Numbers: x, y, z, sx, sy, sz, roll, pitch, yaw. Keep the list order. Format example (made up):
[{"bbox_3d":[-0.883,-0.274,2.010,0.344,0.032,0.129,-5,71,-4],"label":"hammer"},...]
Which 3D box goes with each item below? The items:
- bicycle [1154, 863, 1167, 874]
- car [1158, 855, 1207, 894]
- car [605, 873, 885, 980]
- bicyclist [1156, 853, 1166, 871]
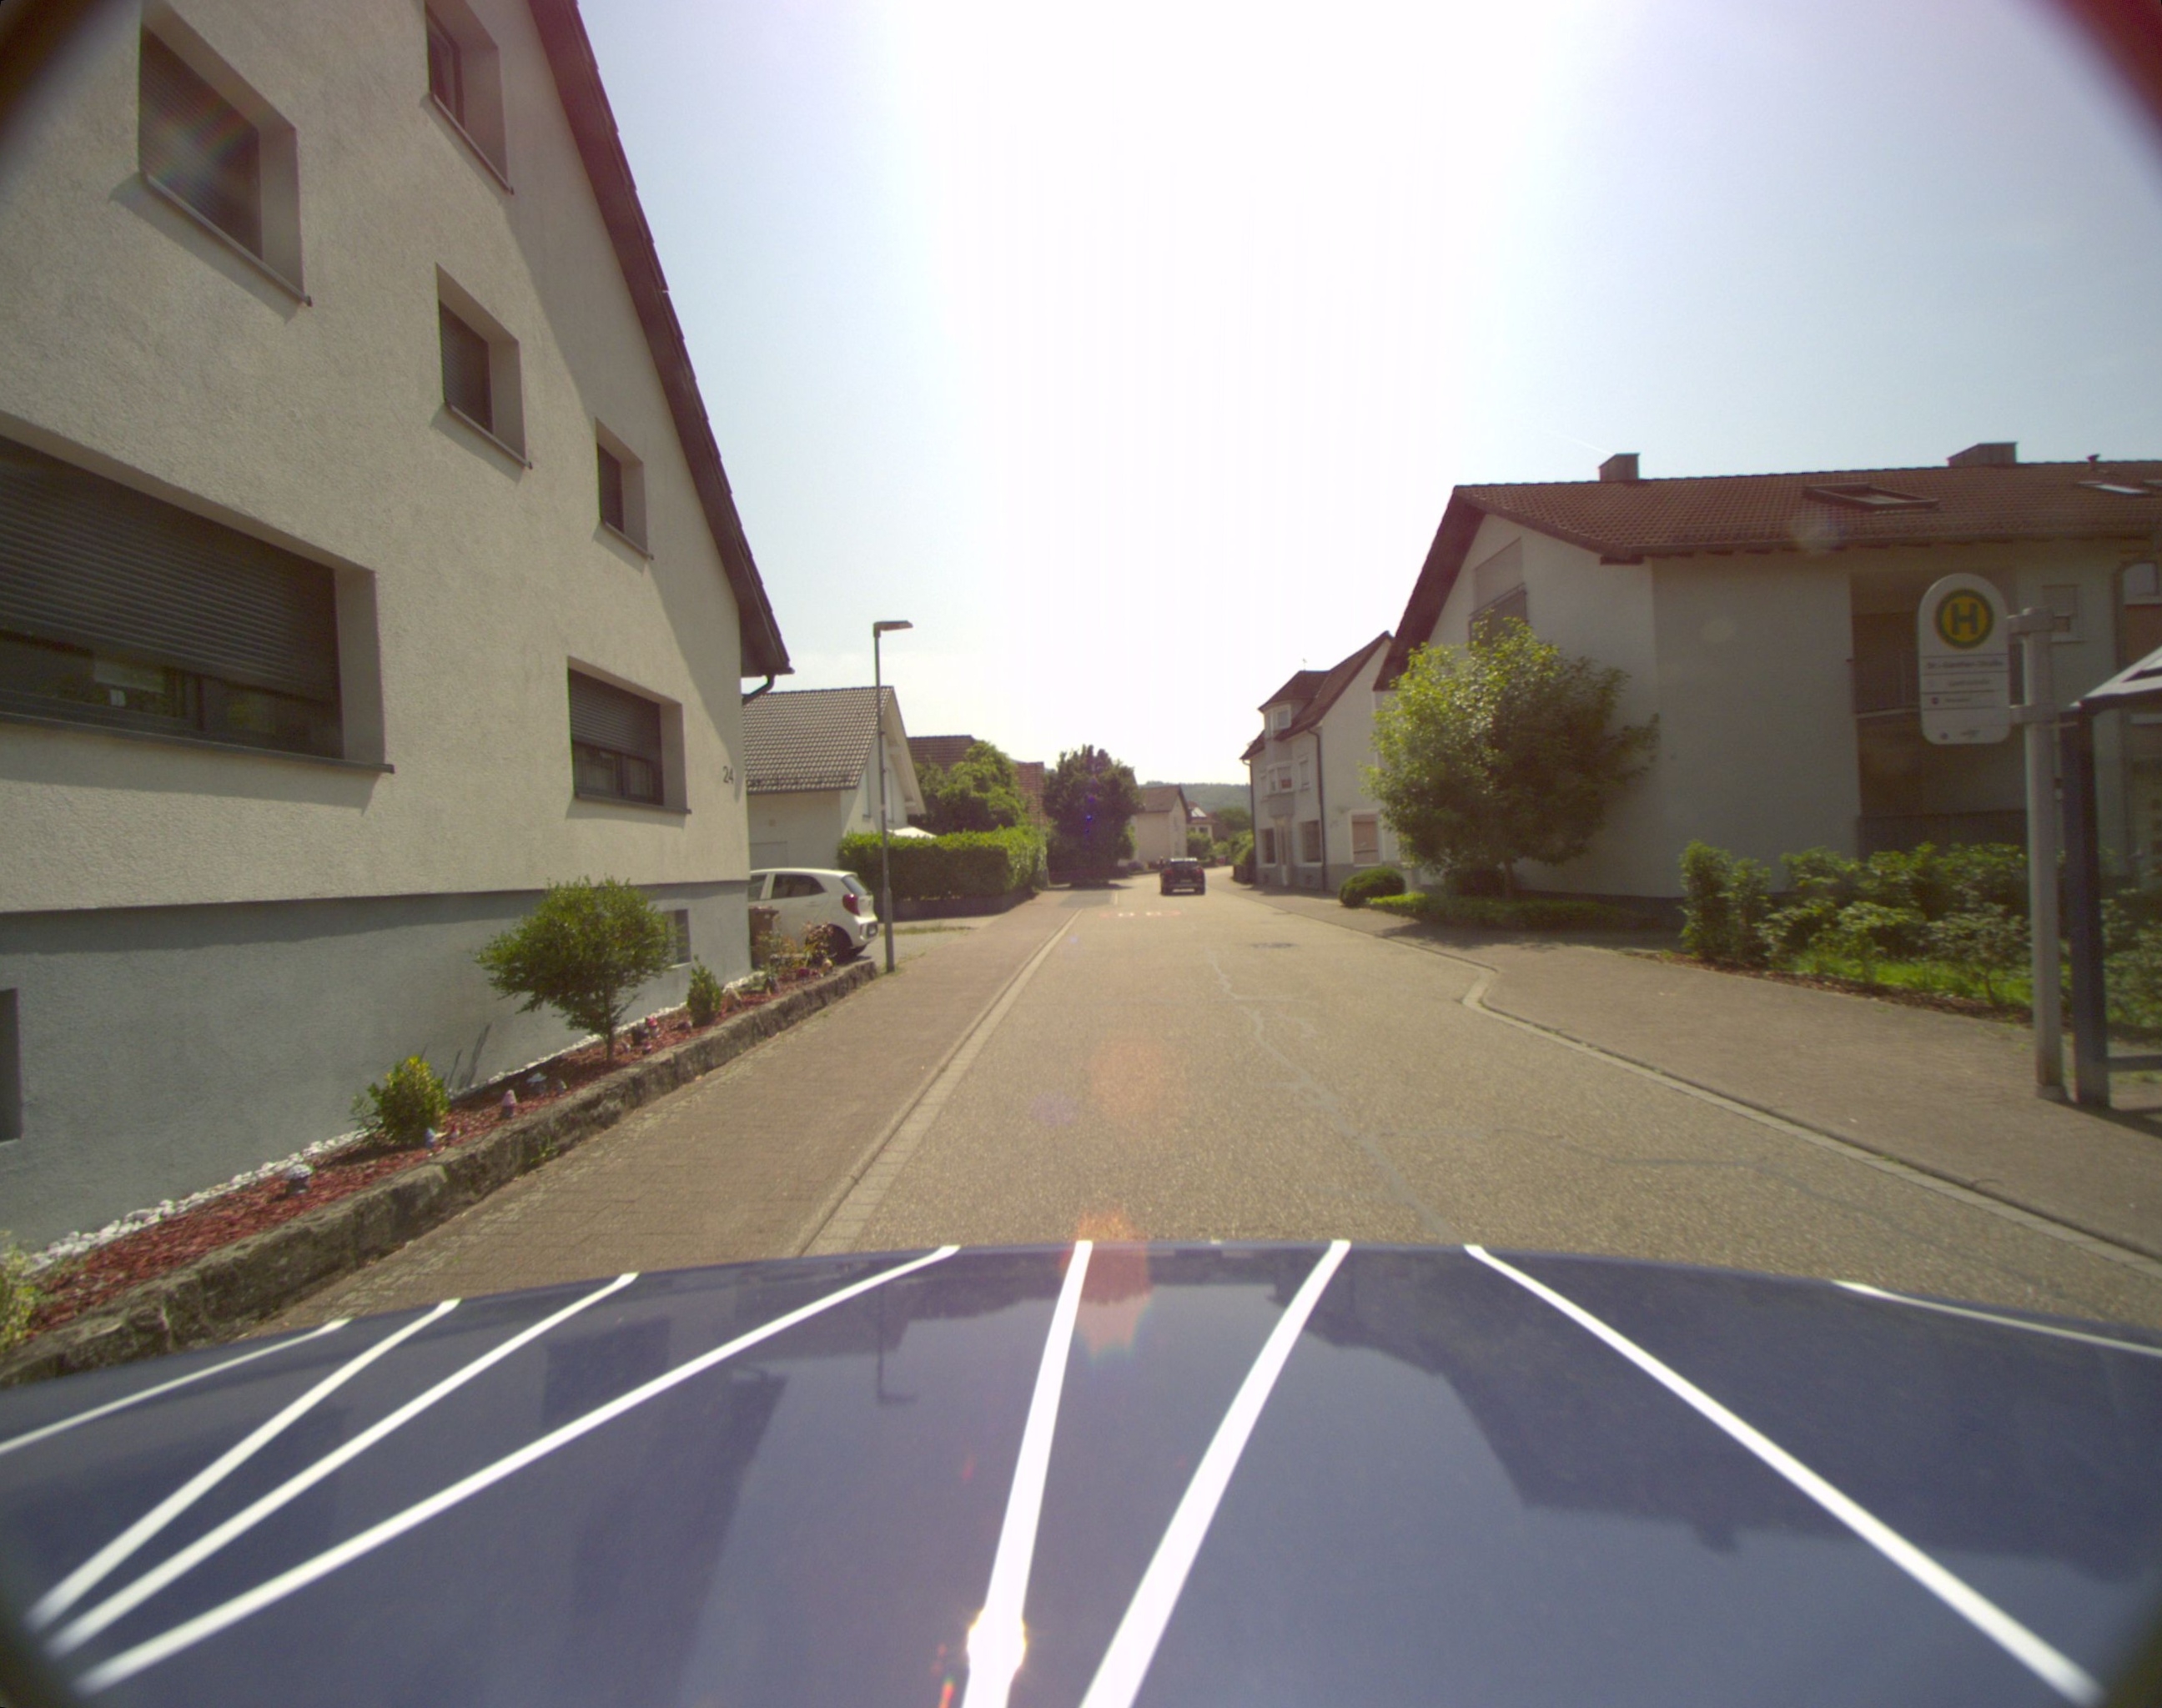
[{"bbox_3d":[6.867,1.257,65.721,0.520,0.898,1.315,-2,0,33],"label":"bicycle"},{"bbox_3d":[4.509,0.908,34.281,1.780,1.613,4.106,-1,-1,2],"label":"car"},{"bbox_3d":[-5.163,1.083,12.087,3.668,1.465,1.765,-1,-1,-4],"label":"car"},{"bbox_3d":[6.943,0.671,65.871,0.546,1.481,0.798,-2,1,34],"label":"bicyclist"}]
